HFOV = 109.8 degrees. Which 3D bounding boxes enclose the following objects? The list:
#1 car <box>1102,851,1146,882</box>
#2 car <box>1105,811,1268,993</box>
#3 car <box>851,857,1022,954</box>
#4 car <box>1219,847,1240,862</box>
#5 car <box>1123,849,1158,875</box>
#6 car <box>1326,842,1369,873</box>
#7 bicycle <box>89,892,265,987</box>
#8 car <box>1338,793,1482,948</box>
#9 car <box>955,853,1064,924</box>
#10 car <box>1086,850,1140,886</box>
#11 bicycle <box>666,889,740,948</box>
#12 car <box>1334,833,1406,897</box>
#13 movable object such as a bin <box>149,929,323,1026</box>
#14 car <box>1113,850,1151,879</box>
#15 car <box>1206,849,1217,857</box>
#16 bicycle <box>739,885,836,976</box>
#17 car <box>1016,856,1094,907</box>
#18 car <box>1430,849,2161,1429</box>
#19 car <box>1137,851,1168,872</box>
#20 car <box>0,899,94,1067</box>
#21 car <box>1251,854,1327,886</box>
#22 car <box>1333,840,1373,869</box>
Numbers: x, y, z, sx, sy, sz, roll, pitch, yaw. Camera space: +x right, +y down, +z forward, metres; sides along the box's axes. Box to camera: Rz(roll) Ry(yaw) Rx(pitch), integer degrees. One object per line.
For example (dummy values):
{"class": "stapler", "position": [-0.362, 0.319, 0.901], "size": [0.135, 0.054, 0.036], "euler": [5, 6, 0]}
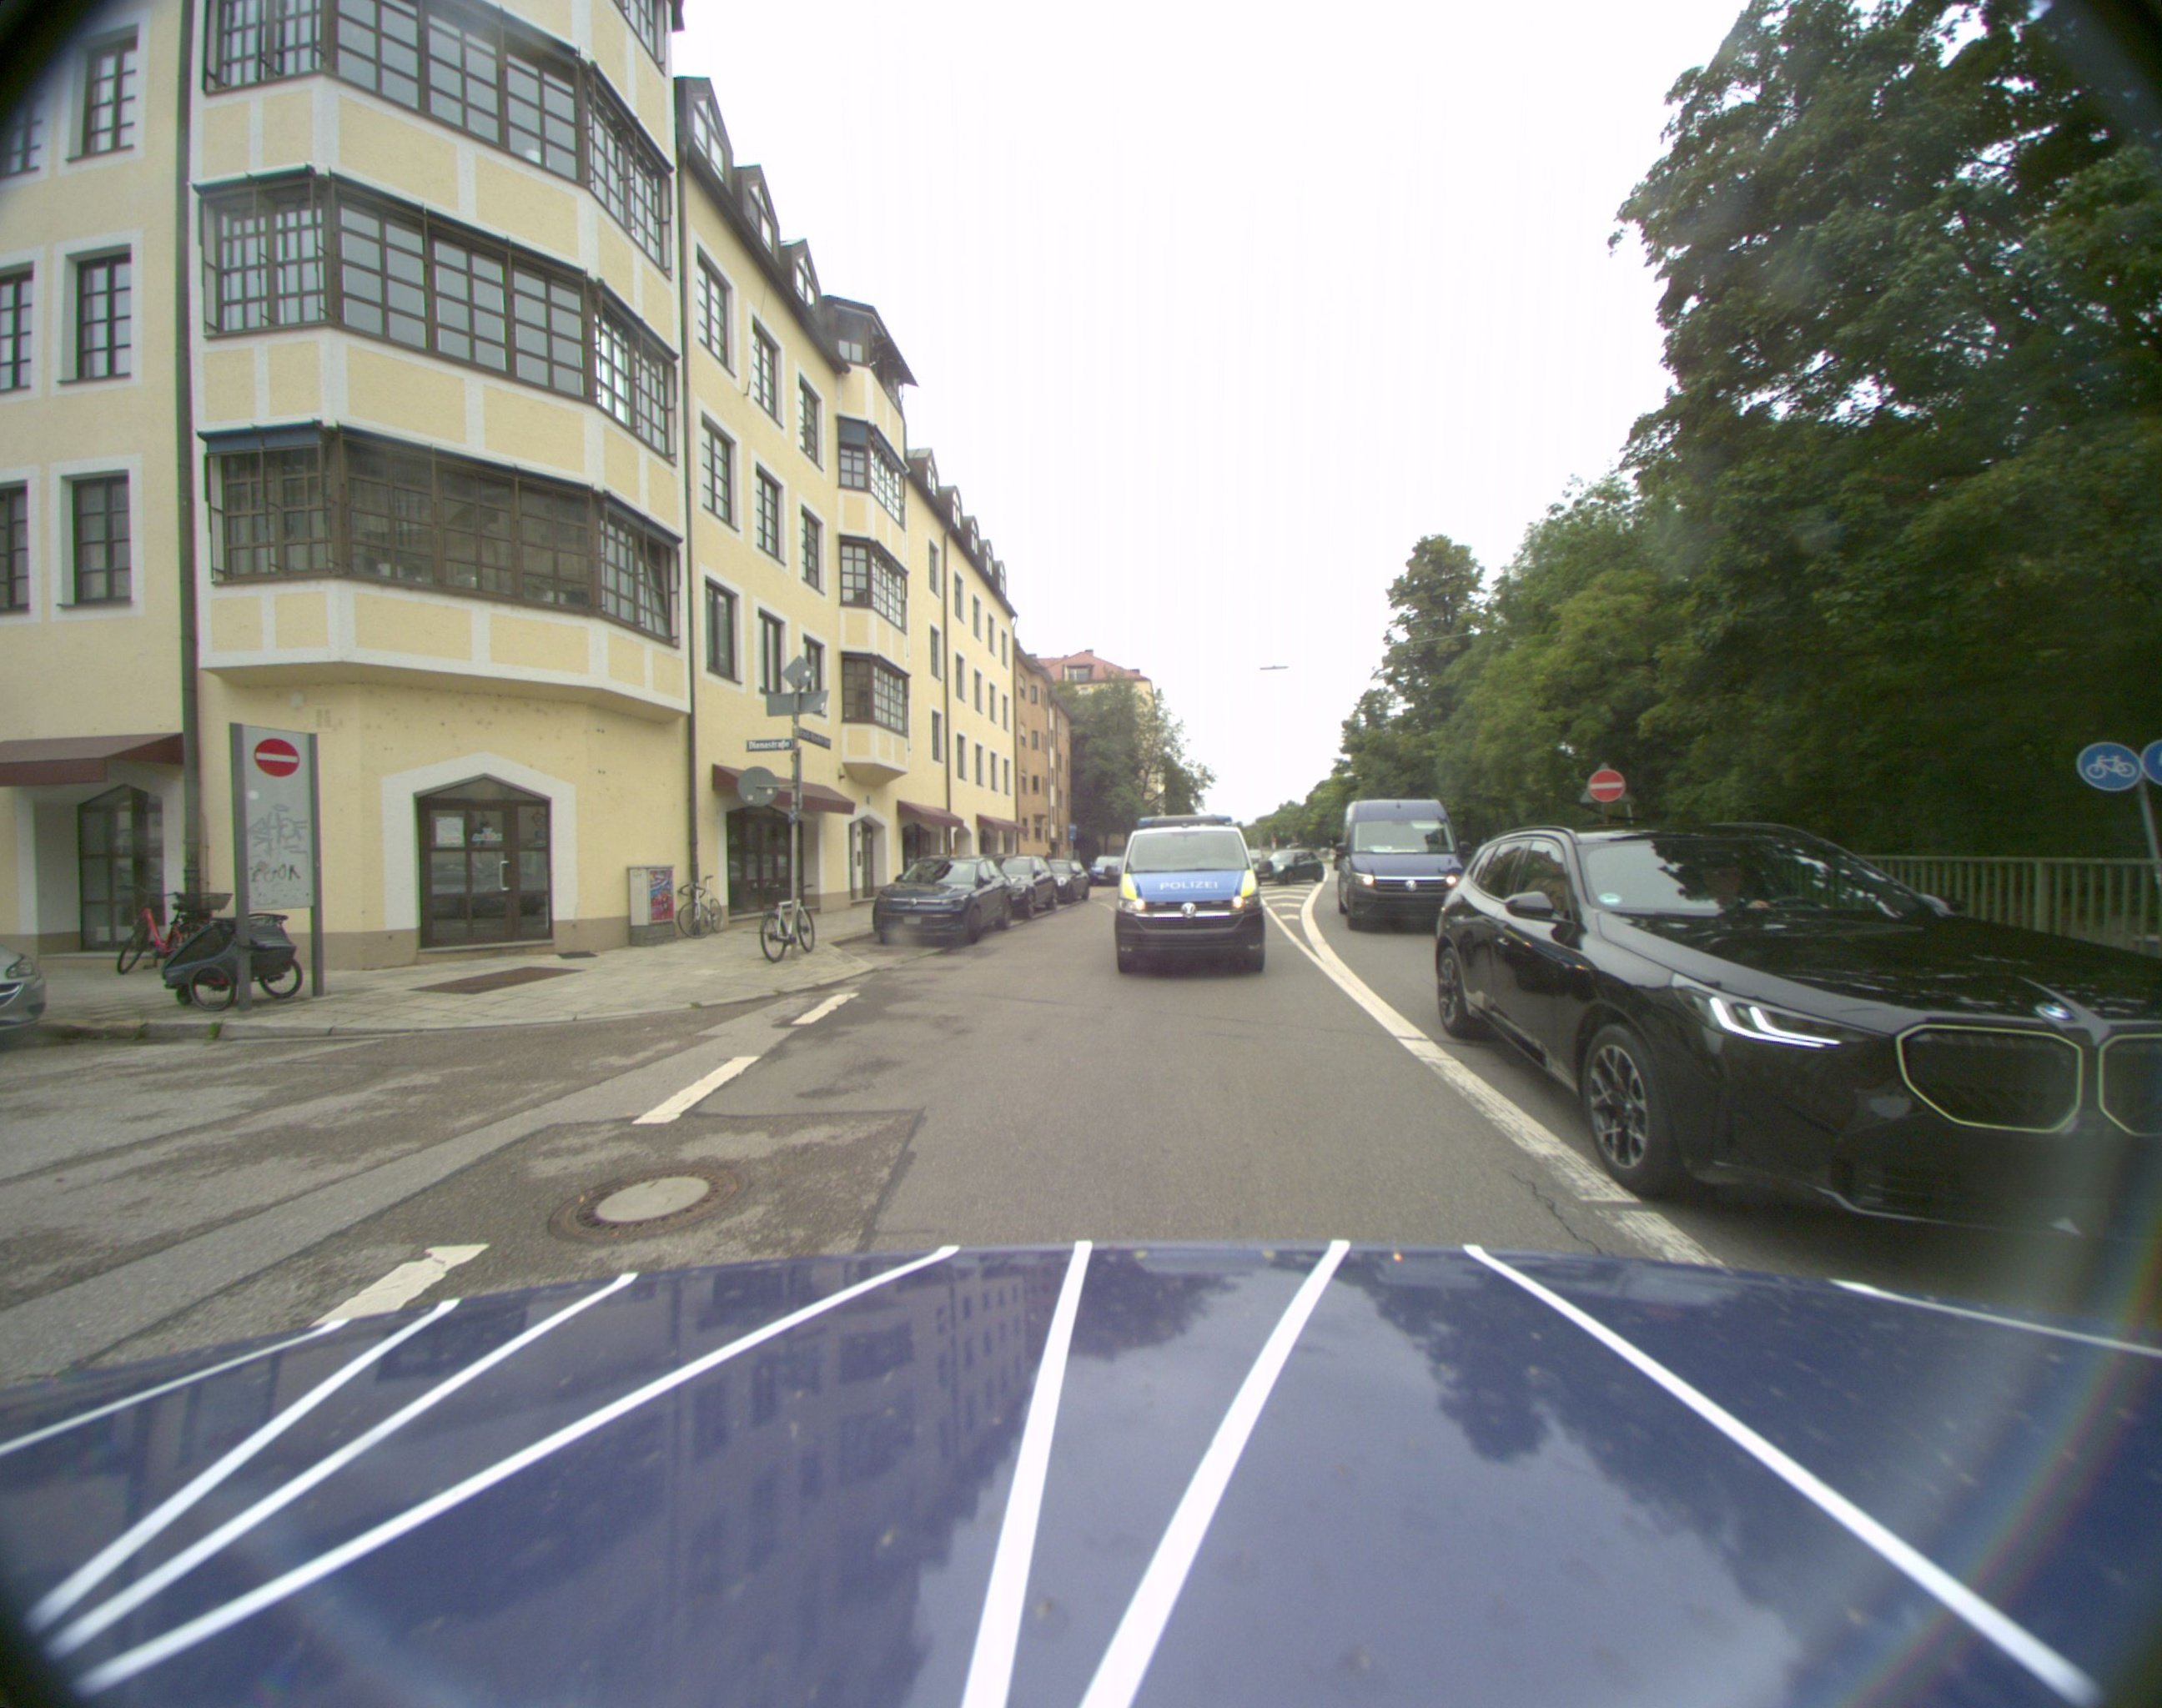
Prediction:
{"class": "car", "position": [2.527, 0.678, 43.543], "size": [1.882, 1.642, 4.620], "euler": [-3, 0, 10]}
{"class": "car", "position": [1.645, 0.554, 11.609], "size": [1.825, 2.086, 5.636], "euler": [-1, 0, 9]}
{"class": "car", "position": [-2.713, 0.921, 15.491], "size": [2.110, 1.613, 4.498], "euler": [-1, 0, 7]}
{"class": "car", "position": [16.049, 0.029, 82.112], "size": [1.996, 1.587, 4.004], "euler": [0, 1, 13]}
{"class": "car", "position": [4.201, 0.513, 53.015], "size": [1.881, 1.642, 4.303], "euler": [-3, 0, 11]}
{"class": "car", "position": [15.074, 0.164, 43.081], "size": [2.101, 1.581, 5.575], "euler": [-3, 0, 19]}
{"class": "bicycle", "position": [-11.921, 1.108, 10.034], "size": [1.904, 1.180, 0.515], "euler": [-1, 1, 7]}
{"class": "car", "position": [6.364, 0.207, 15.405], "size": [2.003, 2.477, 6.239], "euler": [-1, 1, 17]}
{"class": "car", "position": [-1.802, 0.839, 20.663], "size": [1.816, 1.580, 4.167], "euler": [3, 2, 10]}
{"class": "car", "position": [1.701, 0.629, 38.352], "size": [1.881, 1.642, 5.621], "euler": [0, 1, 11]}
{"class": "bicycle", "position": [-6.939, 1.155, 14.023], "size": [0.262, 0.897, 1.696], "euler": [4, 2, 9]}
{"class": "car", "position": [9.922, 0.312, 26.352], "size": [2.004, 1.925, 5.813], "euler": [-2, 0, 19]}
{"class": "movable object such as a bin", "position": [-8.893, 1.278, 8.022], "size": [1.125, 0.895, 0.684], "euler": [0, 1, 7]}
{"class": "car", "position": [3.308, 0.625, 48.356], "size": [1.882, 1.642, 4.588], "euler": [-3, 0, 10]}
{"class": "car", "position": [23.273, -0.269, 135.902], "size": [1.836, 1.390, 4.002], "euler": [0, 1, 8]}
{"class": "bicycle", "position": [-4.425, 1.102, 11.605], "size": [0.430, 1.152, 2.054], "euler": [0, 1, 8]}
{"class": "car", "position": [-0.779, 0.846, 25.692], "size": [1.762, 1.514, 3.935], "euler": [1, 1, 11]}
{"class": "car", "position": [3.482, 0.785, 4.190], "size": [1.919, 1.556, 4.297], "euler": [0, 1, 12]}
{"class": "car", "position": [5.552, 0.570, 58.269], "size": [1.881, 1.474, 4.303], "euler": [-3, 0, 11]}
{"class": "car", "position": [-11.199, 1.119, 6.536], "size": [3.740, 1.431, 1.754], "euler": [-1, -2, 10]}
{"class": "car", "position": [8.909, 0.649, 32.394], "size": [3.618, 1.207, 1.492], "euler": [-2, 1, -45]}
{"class": "car", "position": [17.898, 0.031, 50.132], "size": [2.313, 1.719, 5.221], "euler": [-3, 0, 19]}
